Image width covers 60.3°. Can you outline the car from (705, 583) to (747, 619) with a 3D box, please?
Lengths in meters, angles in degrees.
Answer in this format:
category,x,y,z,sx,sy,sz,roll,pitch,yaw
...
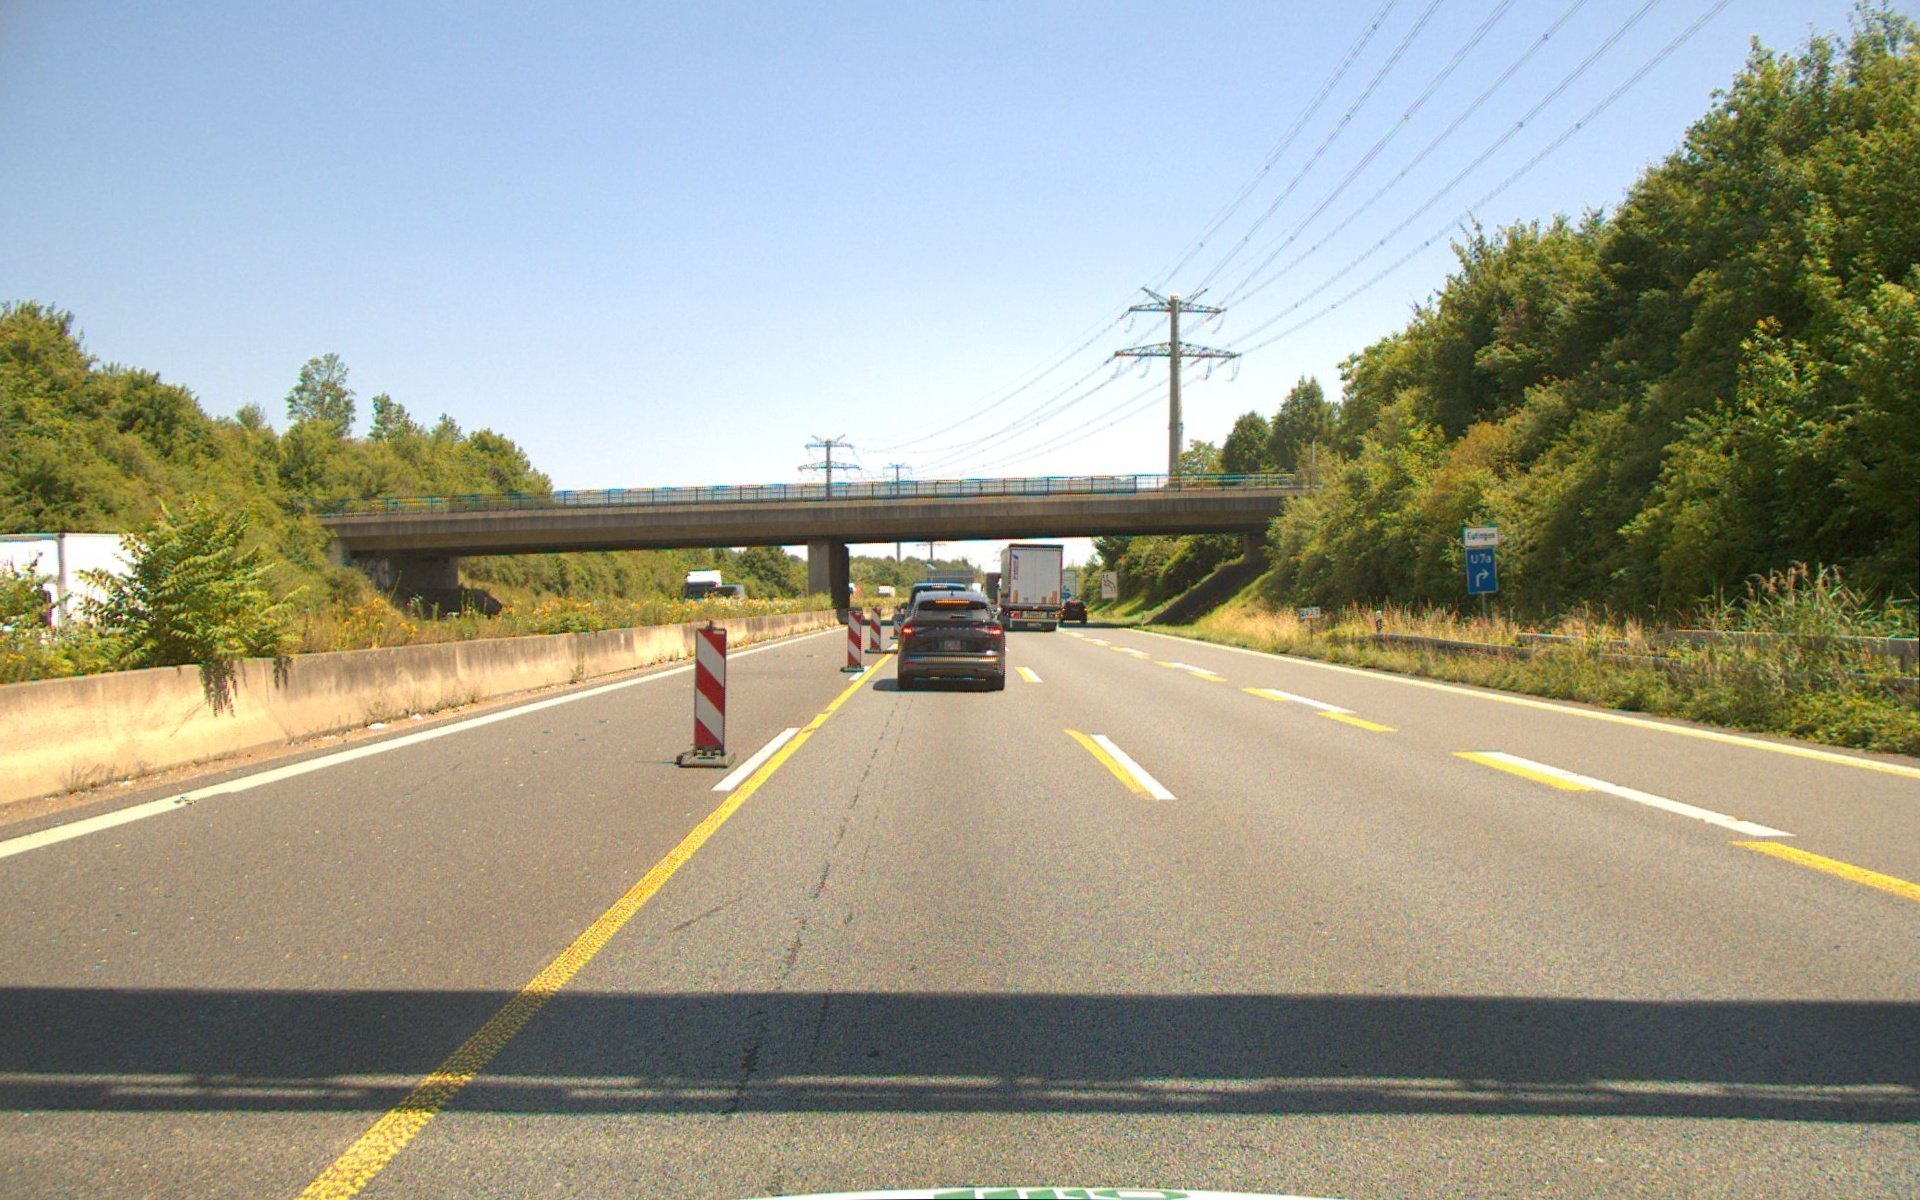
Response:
category,x,y,z,sx,sy,sz,roll,pitch,yaw
car,-15.370,0.074,108.802,2.070,2.236,5.310,2,0,-2

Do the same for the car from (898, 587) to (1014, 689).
category,x,y,z,sx,sy,sz,roll,pitch,yaw
car,-0.132,0.590,28.659,1.857,1.620,4.441,0,1,-2

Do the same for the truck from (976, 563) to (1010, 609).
category,x,y,z,sx,sy,sz,roll,pitch,yaw
truck,3.125,-1.287,160.921,3.014,4.219,13.054,1,0,0

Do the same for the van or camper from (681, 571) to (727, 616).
category,x,y,z,sx,sy,sz,roll,pitch,yaw
van or camper,-19.030,-0.496,123.386,2.517,3.243,6.231,1,0,-1

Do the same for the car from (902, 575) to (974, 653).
category,x,y,z,sx,sy,sz,roll,pitch,yaw
car,-0.651,0.351,46.422,1.857,1.873,4.442,2,3,-2

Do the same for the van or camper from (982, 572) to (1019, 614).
category,x,y,z,sx,sy,sz,roll,pitch,yaw
van or camper,3.045,-0.536,125.644,2.534,3.020,6.084,3,0,0

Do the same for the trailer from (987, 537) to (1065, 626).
category,x,y,z,sx,sy,sz,roll,pitch,yaw
trailer,3.180,-0.870,82.617,3.003,4.113,11.482,0,0,-2

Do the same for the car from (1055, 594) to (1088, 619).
category,x,y,z,sx,sy,sz,roll,pitch,yaw
car,7.175,0.417,107.167,1.743,1.515,4.463,1,0,-1

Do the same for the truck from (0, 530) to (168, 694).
category,x,y,z,sx,sy,sz,roll,pitch,yaw
truck,-20.287,0.258,36.653,2.444,3.316,6.363,-1,0,-1

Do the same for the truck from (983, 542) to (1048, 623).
category,x,y,z,sx,sy,sz,roll,pitch,yaw
truck,2.939,-0.908,89.394,2.964,4.159,7.792,0,0,-2
